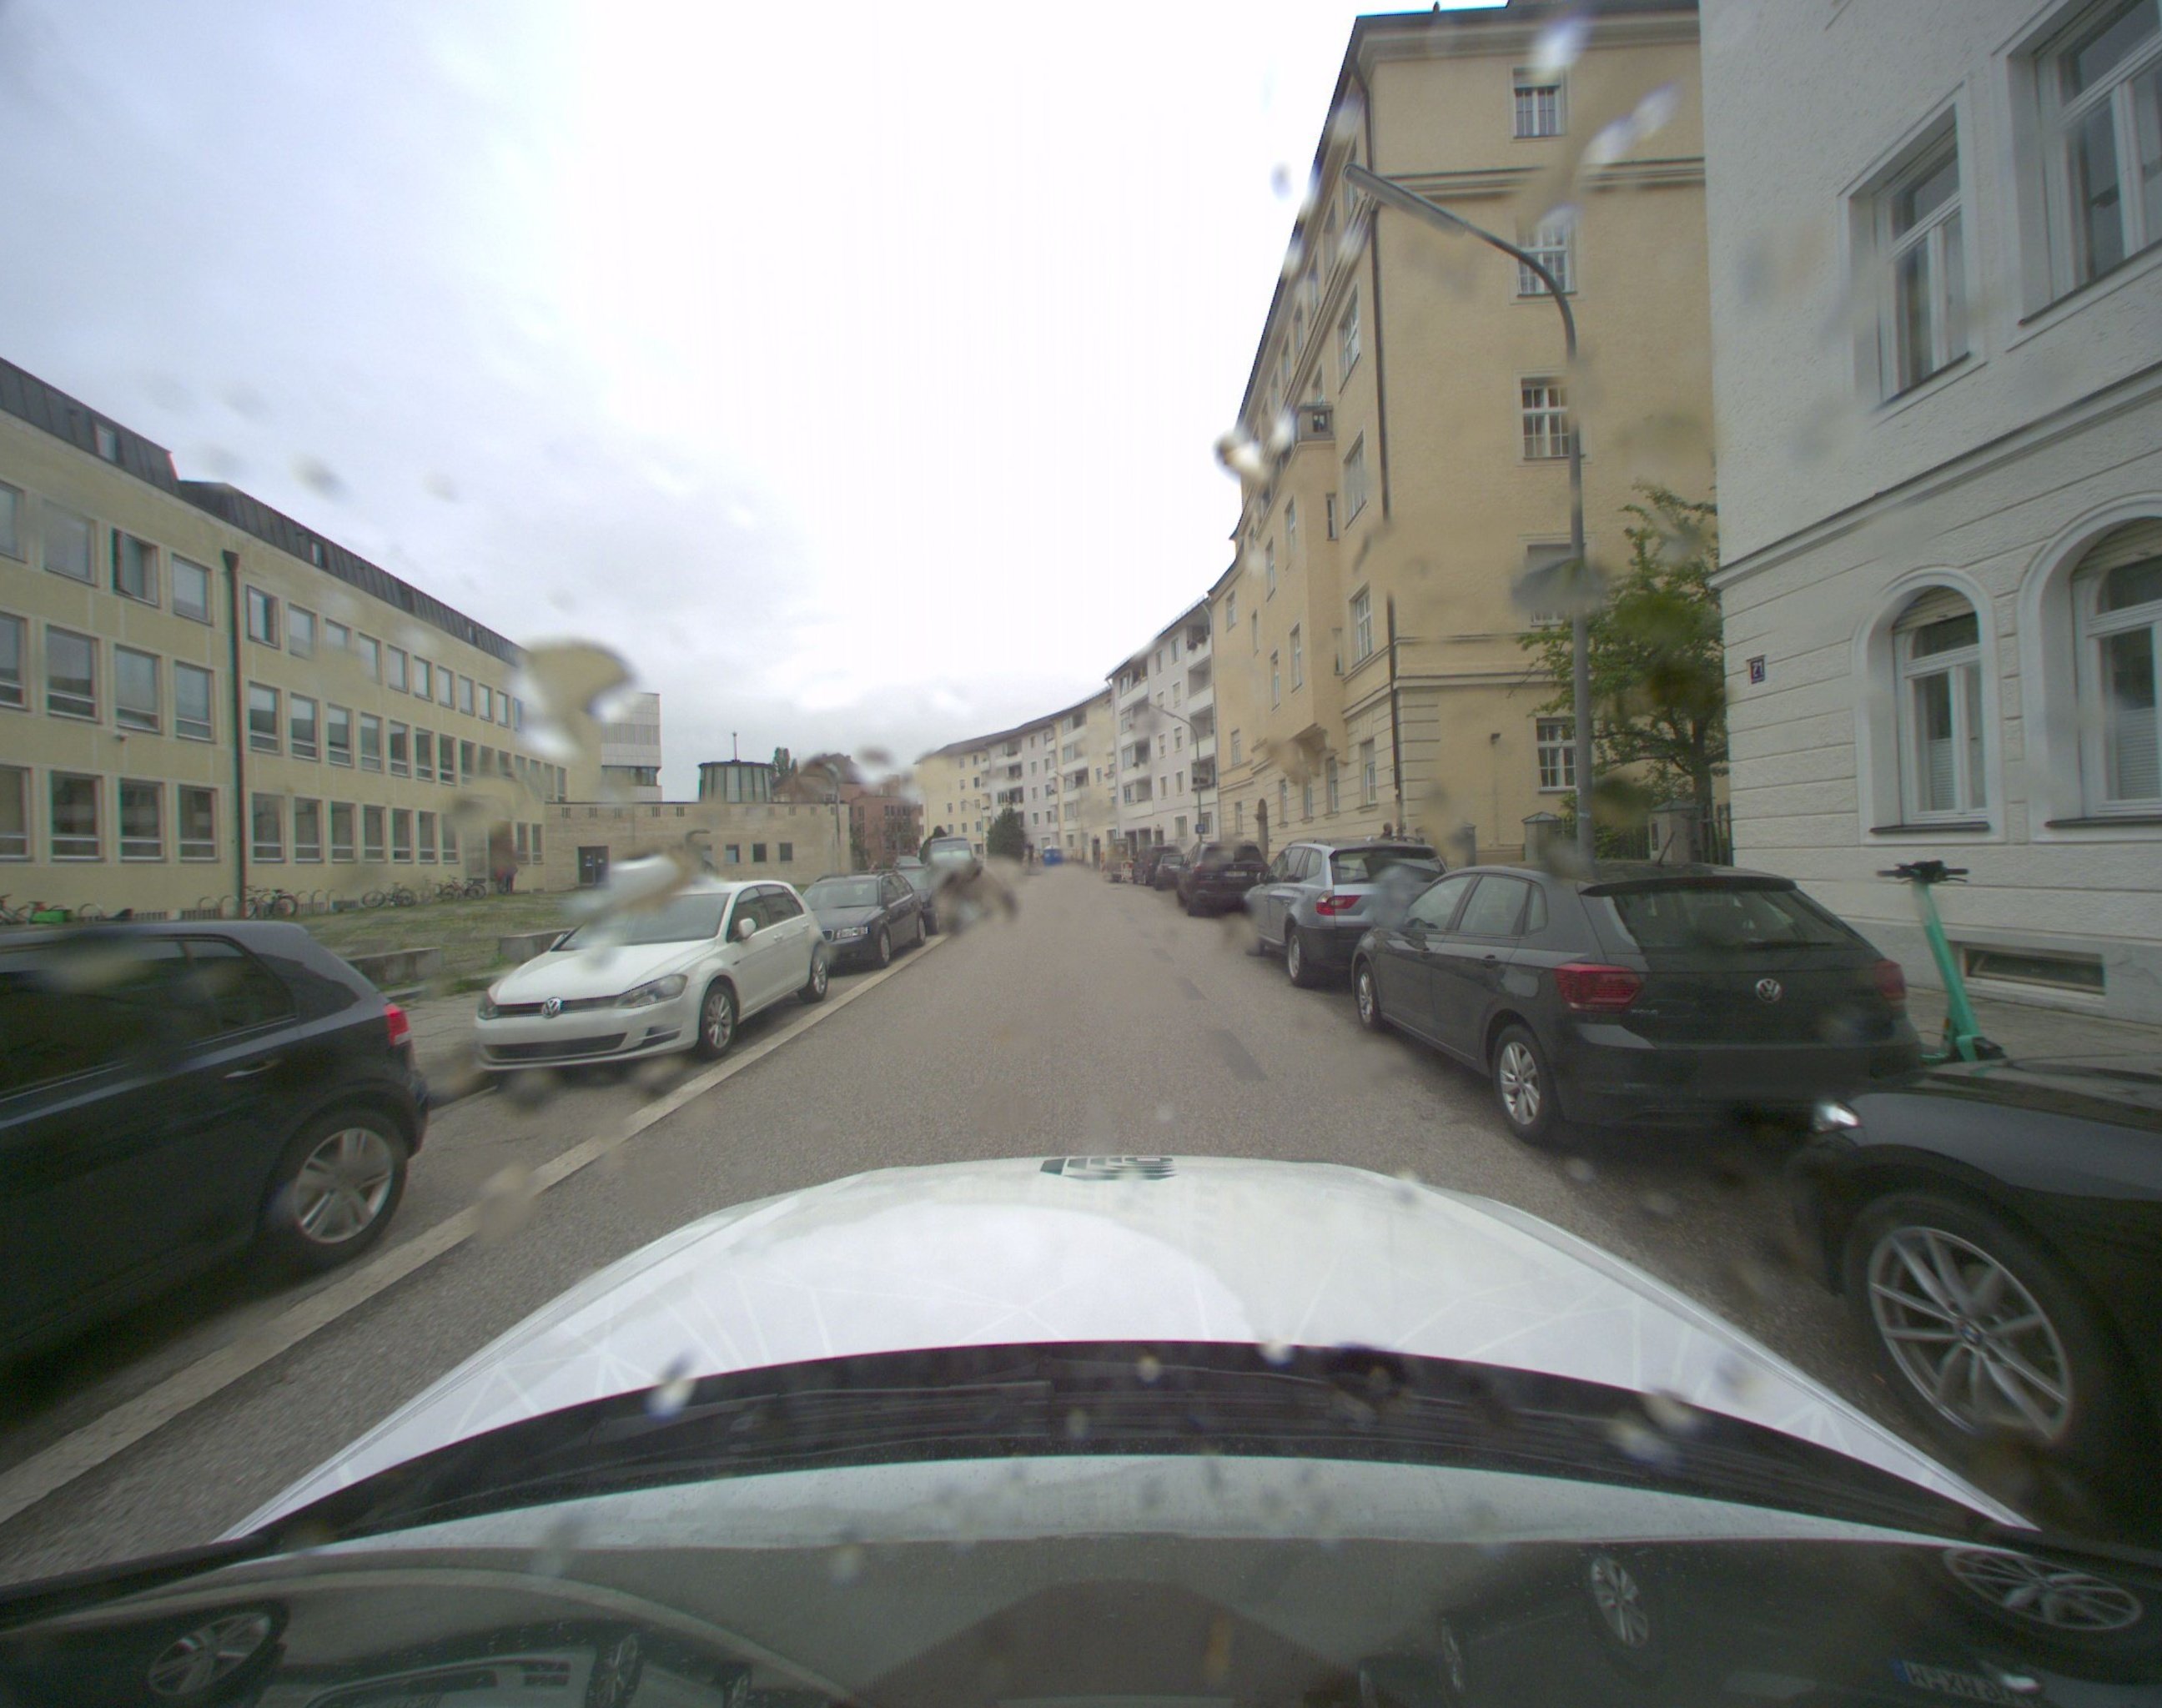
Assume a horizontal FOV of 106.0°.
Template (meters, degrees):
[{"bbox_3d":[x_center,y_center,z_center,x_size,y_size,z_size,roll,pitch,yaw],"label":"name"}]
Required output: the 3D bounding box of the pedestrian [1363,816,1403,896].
[{"bbox_3d":[6.777,0.043,18.260,0.677,1.760,0.698,-1,-1,33],"label":"pedestrian"}]

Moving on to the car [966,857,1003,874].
[{"bbox_3d":[-9.943,1.149,83.576,2.040,1.678,4.565,0,-1,-33],"label":"car"}]

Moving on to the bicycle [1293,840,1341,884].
[{"bbox_3d":[7.143,0.245,24.738,0.699,1.246,2.645,-2,-1,1],"label":"bicycle"}]

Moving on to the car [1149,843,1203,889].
[{"bbox_3d":[3.719,0.470,32.547,1.829,1.730,3.731,0,-1,2],"label":"car"}]

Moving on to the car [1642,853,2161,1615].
[{"bbox_3d":[2.891,0.692,0.652,1.791,1.414,4.529,0,-1,0],"label":"car"}]

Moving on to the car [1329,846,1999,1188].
[{"bbox_3d":[3.081,0.708,5.480,1.697,1.442,4.057,0,-1,2],"label":"car"}]

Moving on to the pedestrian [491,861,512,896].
[{"bbox_3d":[-29.313,1.215,41.192,0.716,1.744,0.643,0,-1,-17],"label":"pedestrian"}]

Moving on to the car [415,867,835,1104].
[{"bbox_3d":[-3.830,0.955,7.772,1.716,1.530,3.998,-4,0,-1],"label":"car"}]

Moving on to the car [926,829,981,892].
[{"bbox_3d":[-6.071,0.312,38.161,2.145,2.574,6.186,-4,0,-12],"label":"car"}]

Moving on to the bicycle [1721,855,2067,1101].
[{"bbox_3d":[4.582,0.617,4.749,0.478,1.178,1.473,-5,-1,2],"label":"bicycle"}]

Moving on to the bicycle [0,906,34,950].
[{"bbox_3d":[-23.964,1.605,17.500,1.904,0.917,0.436,0,-1,-14],"label":"bicycle"}]

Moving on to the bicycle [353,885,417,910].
[{"bbox_3d":[-27.332,1.692,32.008,1.904,0.917,0.436,0,-1,-14],"label":"bicycle"}]

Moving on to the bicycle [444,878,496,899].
[{"bbox_3d":[-28.112,1.588,37.484,1.904,0.917,0.436,0,-1,-14],"label":"bicycle"}]

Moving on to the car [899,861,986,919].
[{"bbox_3d":[-3.773,0.944,22.838,1.716,1.364,4.210,-4,0,-1],"label":"car"}]

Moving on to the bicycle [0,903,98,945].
[{"bbox_3d":[-24.282,1.631,18.949,1.904,0.917,0.436,0,-1,-14],"label":"bicycle"}]

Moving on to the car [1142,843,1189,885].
[{"bbox_3d":[3.817,0.441,37.488,1.829,1.799,4.240,0,-1,2],"label":"car"}]

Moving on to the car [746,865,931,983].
[{"bbox_3d":[-3.692,0.979,13.199,1.716,1.481,4.203,-4,0,-1],"label":"car"}]

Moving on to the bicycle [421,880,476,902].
[{"bbox_3d":[-27.910,1.635,35.969,1.904,0.917,0.436,0,-1,-14],"label":"bicycle"}]

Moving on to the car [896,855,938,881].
[{"bbox_3d":[-12.143,0.985,59.994,2.003,1.772,4.775,-2,0,-24],"label":"car"}]

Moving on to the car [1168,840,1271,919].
[{"bbox_3d":[3.337,0.525,20.430,1.920,1.730,4.689,0,1,2],"label":"car"}]

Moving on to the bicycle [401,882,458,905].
[{"bbox_3d":[-28.155,1.704,35.203,1.904,0.917,0.436,0,-1,-14],"label":"bicycle"}]

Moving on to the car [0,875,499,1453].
[{"bbox_3d":[-3.829,0.872,2.095,1.735,1.545,4.081,0,-1,-1],"label":"car"}]

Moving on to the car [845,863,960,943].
[{"bbox_3d":[-3.858,0.997,18.216,1.716,1.481,3.752,-4,0,-1],"label":"car"}]

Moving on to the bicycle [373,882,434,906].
[{"bbox_3d":[-27.463,1.626,33.032,1.879,0.940,0.530,0,-1,-11],"label":"bicycle"}]

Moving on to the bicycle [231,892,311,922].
[{"bbox_3d":[-26.468,1.711,26.636,1.904,0.917,0.436,0,-1,-14],"label":"bicycle"}]

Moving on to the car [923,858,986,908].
[{"bbox_3d":[-4.159,0.937,27.227,1.663,1.460,2.865,-5,0,-3],"label":"car"}]

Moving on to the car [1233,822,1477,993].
[{"bbox_3d":[3.191,0.563,10.477,1.771,1.730,4.391,0,-1,2],"label":"car"}]

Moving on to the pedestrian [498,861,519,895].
[{"bbox_3d":[-29.635,1.250,42.175,0.716,1.744,0.643,0,-1,-17],"label":"pedestrian"}]
